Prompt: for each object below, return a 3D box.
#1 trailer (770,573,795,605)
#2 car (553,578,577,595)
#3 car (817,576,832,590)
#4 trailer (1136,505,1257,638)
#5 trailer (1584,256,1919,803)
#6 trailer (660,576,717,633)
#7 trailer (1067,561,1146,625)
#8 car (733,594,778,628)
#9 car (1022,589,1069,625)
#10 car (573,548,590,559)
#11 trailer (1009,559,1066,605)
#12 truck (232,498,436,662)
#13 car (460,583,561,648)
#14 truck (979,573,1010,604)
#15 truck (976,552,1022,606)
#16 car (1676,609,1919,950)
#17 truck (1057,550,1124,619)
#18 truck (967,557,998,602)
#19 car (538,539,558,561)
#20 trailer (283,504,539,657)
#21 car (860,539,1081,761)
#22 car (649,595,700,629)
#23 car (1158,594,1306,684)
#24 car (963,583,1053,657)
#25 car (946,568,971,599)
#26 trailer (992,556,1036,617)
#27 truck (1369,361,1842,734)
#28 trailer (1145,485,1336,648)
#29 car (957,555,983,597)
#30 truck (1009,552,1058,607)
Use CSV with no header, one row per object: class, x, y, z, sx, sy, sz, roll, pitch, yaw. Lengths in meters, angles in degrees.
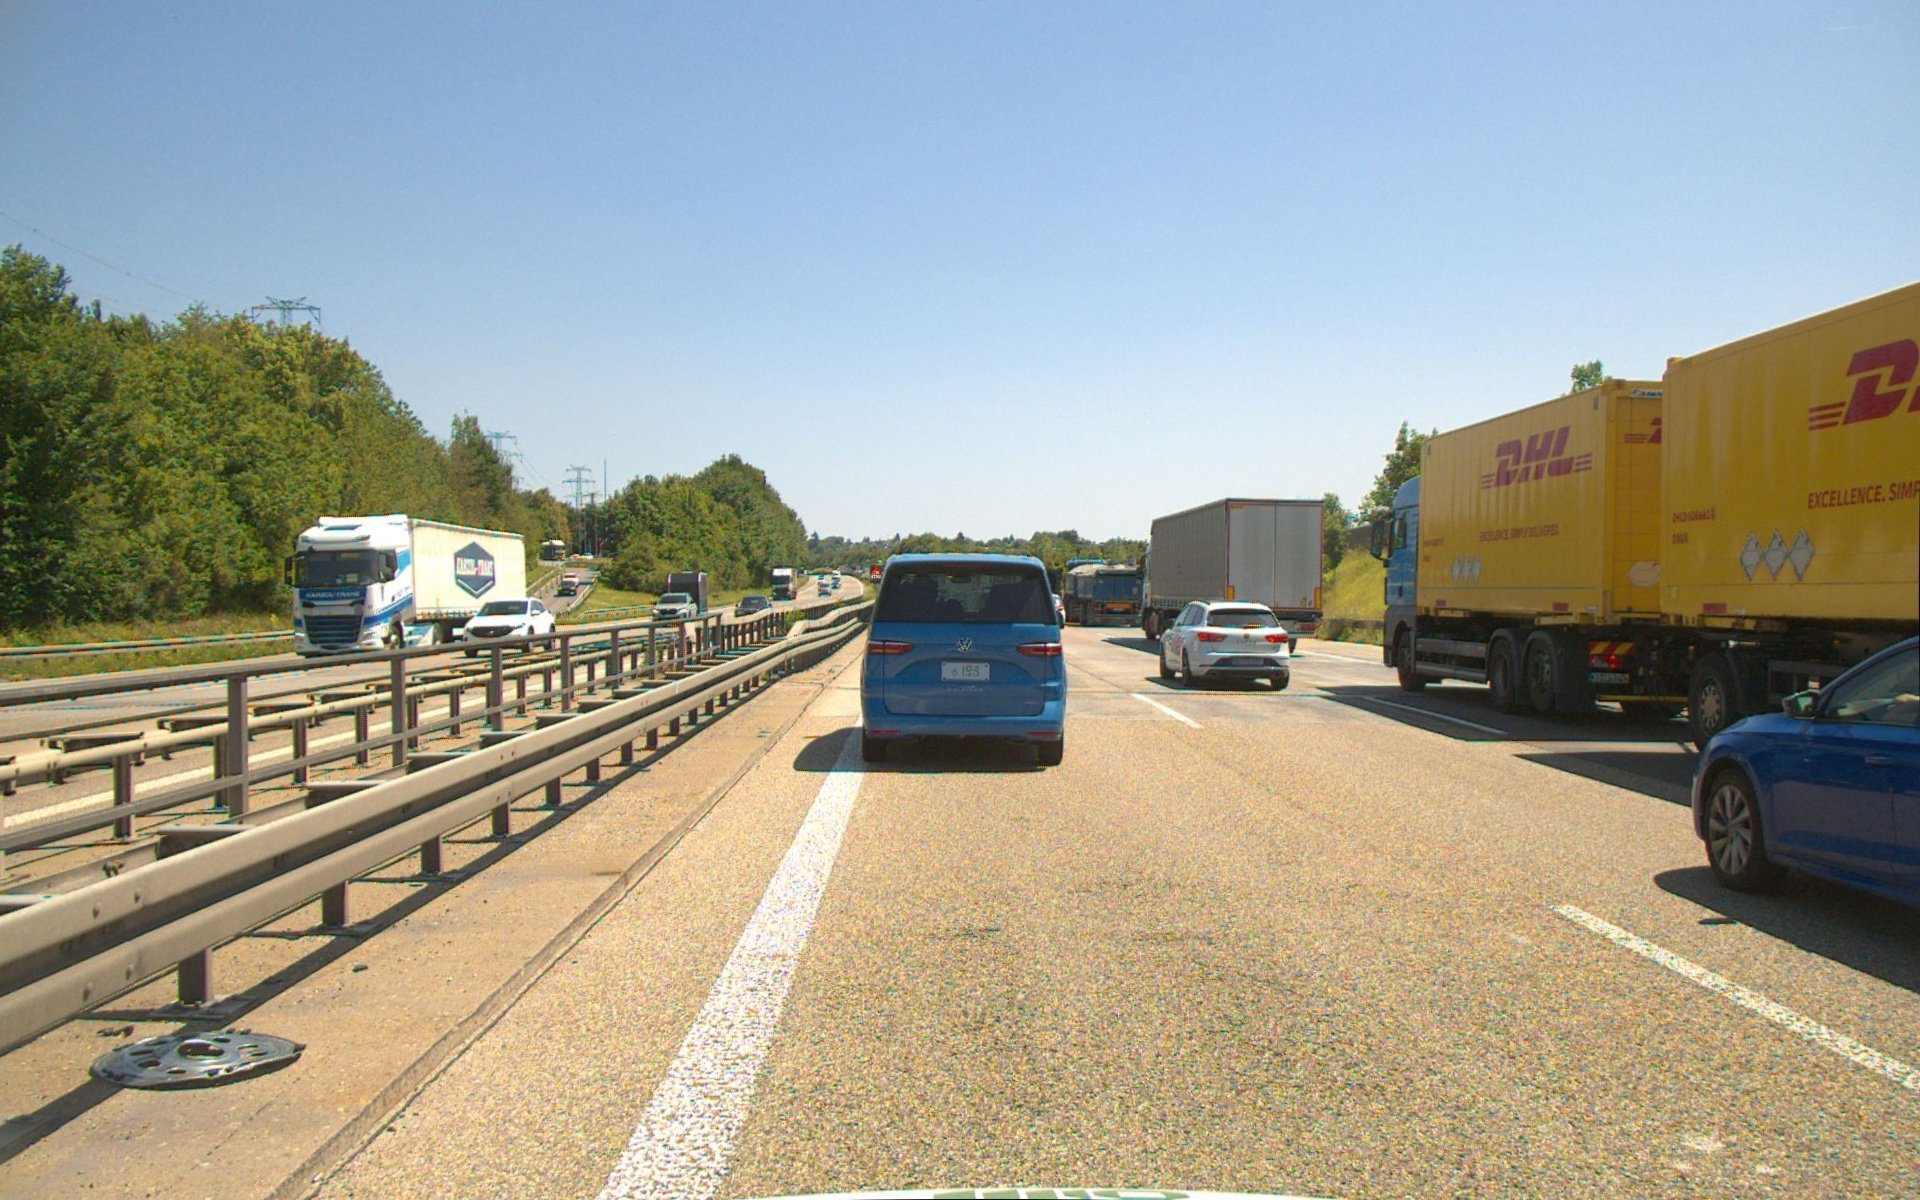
trailer,-23.076,-1.432,215.364,2.701,4.045,6.129,-1,1,-2
car,-40.198,-1.374,168.447,1.956,1.603,5.264,1,0,-9
car,-20.406,-2.520,249.230,1.953,1.975,4.895,1,0,-1
trailer,7.732,-0.929,54.876,2.865,4.114,6.409,1,1,-2
trailer,8.691,-0.538,14.633,2.709,4.189,9.377,1,0,0
trailer,-14.530,0.255,88.746,2.122,2.825,5.375,-3,0,-1
trailer,6.971,-0.413,80.031,2.688,2.886,9.113,1,1,-2
car,-10.206,0.541,82.846,1.755,1.600,3.999,1,0,-1
car,3.713,0.307,72.347,1.803,1.480,3.999,1,0,0
car,-57.067,-6.985,249.357,1.908,1.536,4.372,2,0,-21
trailer,5.747,-1.223,125.158,3.572,3.133,15.771,1,0,0
truck,-17.542,-0.524,46.764,3.925,4.302,4.857,-1,0,-2
car,-12.770,0.429,47.266,1.713,1.726,4.384,-1,0,-1
truck,2.176,-0.685,105.107,1.690,1.890,3.998,1,0,-2
truck,3.976,-2.058,172.739,3.549,5.304,15.678,1,0,-3
car,5.028,0.813,7.350,1.671,1.466,4.426,1,0,-1
truck,6.792,-0.856,87.158,2.688,3.369,7.131,1,1,-2
truck,2.587,-2.306,191.716,3.006,5.006,10.685,1,0,-2
car,-59.155,-7.100,237.547,2.039,2.930,6.692,0,0,-20
trailer,-17.637,-0.529,54.744,3.908,4.309,14.036,-1,0,-1
car,0.077,0.446,16.249,1.863,1.870,3.999,1,0,-1
car,-14.432,0.608,83.771,1.833,1.654,4.628,-1,0,-1
car,4.572,0.611,28.364,1.829,1.385,4.000,1,0,-1
car,1.053,0.454,38.403,1.833,1.579,3.998,1,0,-2
car,-0.190,-1.636,170.671,2.240,3.060,5.571,1,0,-2
trailer,4.863,-1.151,151.832,3.572,5.226,13.075,1,0,0
truck,8.573,-0.639,23.781,2.709,4.181,9.951,1,0,-1
trailer,7.905,-0.895,48.925,2.902,4.120,13.747,1,0,-2
car,1.306,-3.157,222.248,3.153,5.349,8.141,1,0,-2
truck,5.824,-1.569,132.245,3.551,4.166,7.524,1,0,1
